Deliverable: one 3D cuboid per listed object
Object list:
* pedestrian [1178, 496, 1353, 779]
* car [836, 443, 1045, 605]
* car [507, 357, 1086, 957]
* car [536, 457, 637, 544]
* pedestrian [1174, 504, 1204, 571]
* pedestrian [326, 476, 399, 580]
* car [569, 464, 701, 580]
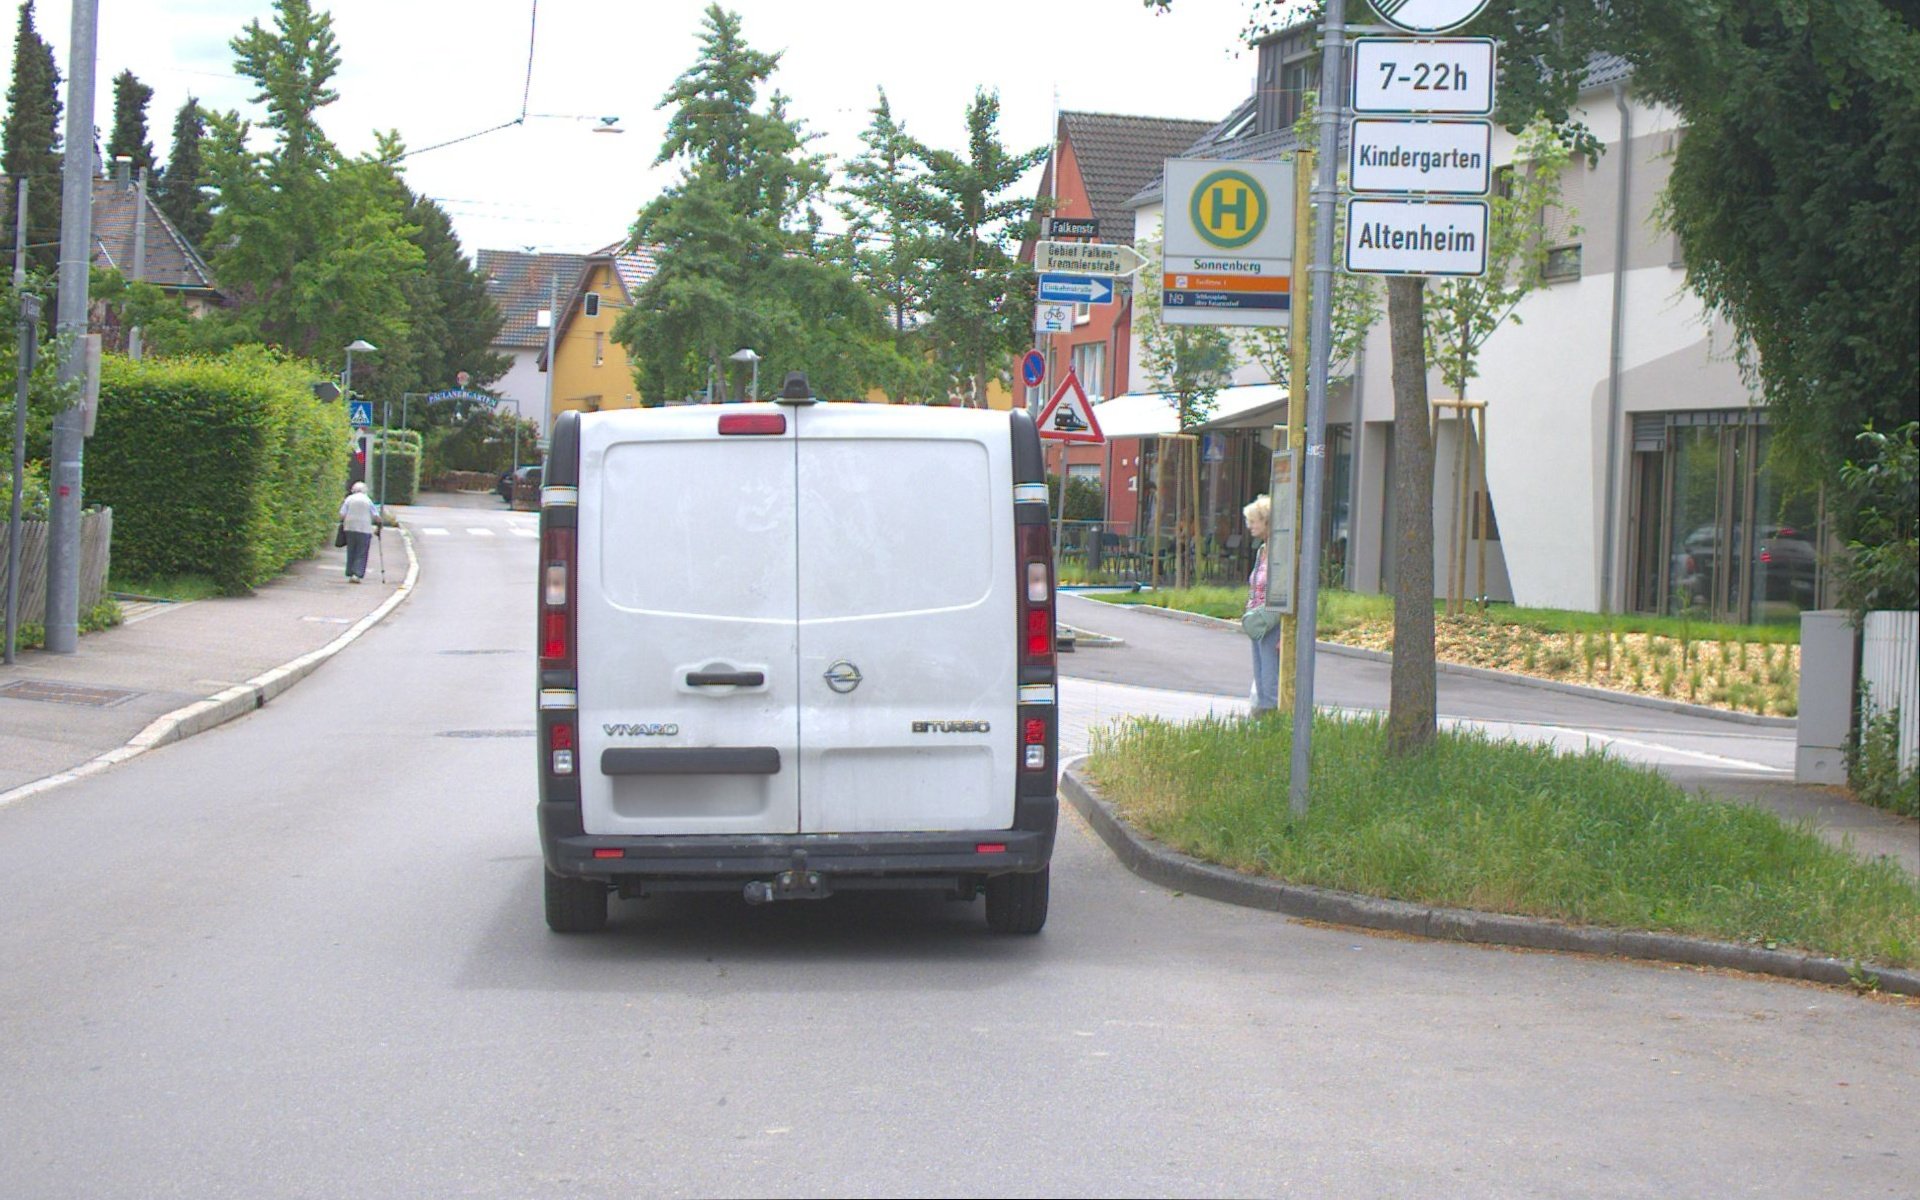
[{"bbox_3d":[1.861,0.219,21.073,0.854,1.639,0.884,4,1,-2],"label":"pedestrian"},{"bbox_3d":[-0.330,-1.027,45.716,1.958,1.909,4.903,4,1,-9],"label":"car"},{"bbox_3d":[-0.768,0.161,13.887,1.915,1.996,4.439,1,1,-6],"label":"car"},{"bbox_3d":[-8.003,-2.121,73.381,1.993,1.776,4.001,1,1,-8],"label":"car"},{"bbox_3d":[4.059,-1.113,60.972,0.421,1.178,0.324,2,1,-10],"label":"pedestrian"},{"bbox_3d":[-8.849,-1.068,50.897,0.876,1.480,0.455,4,1,-27],"label":"pedestrian"},{"bbox_3d":[-5.514,-1.321,57.919,1.993,1.842,4.001,1,1,-8],"label":"car"}]
